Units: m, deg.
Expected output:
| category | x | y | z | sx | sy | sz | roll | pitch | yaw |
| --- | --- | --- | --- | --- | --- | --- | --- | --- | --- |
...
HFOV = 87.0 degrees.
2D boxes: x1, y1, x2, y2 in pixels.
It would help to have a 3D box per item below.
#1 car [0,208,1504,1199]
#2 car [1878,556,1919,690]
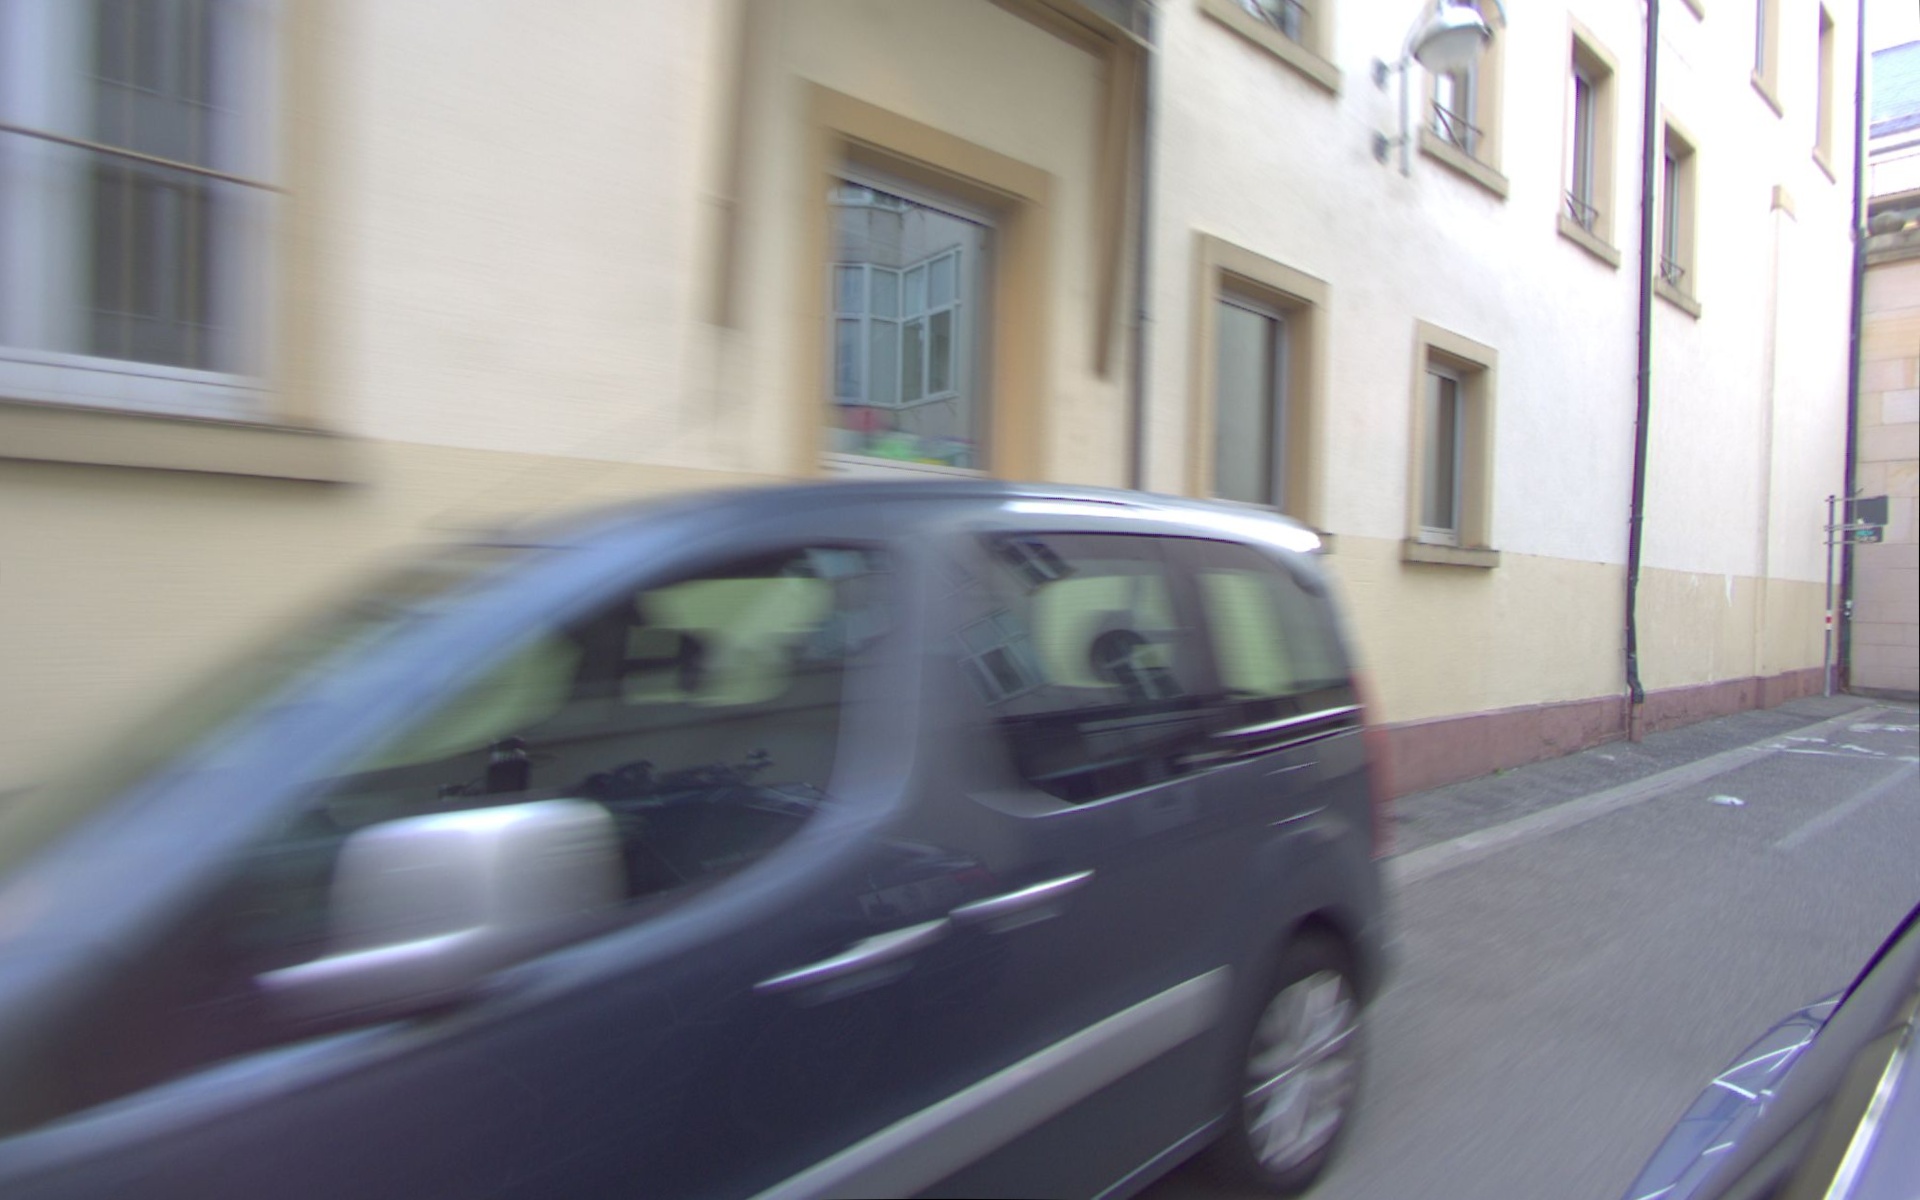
| category | x | y | z | sx | sy | sz | roll | pitch | yaw |
| --- | --- | --- | --- | --- | --- | --- | --- | --- | --- |
| car | -0.628 | 0.541 | 2.322 | 4.666 | 1.789 | 1.762 | 1 | -1 | -41 |
| car | 20.869 | 0.433 | 18.503 | 6.020 | 2.567 | 2.241 | 0 | -1 | 43 |
